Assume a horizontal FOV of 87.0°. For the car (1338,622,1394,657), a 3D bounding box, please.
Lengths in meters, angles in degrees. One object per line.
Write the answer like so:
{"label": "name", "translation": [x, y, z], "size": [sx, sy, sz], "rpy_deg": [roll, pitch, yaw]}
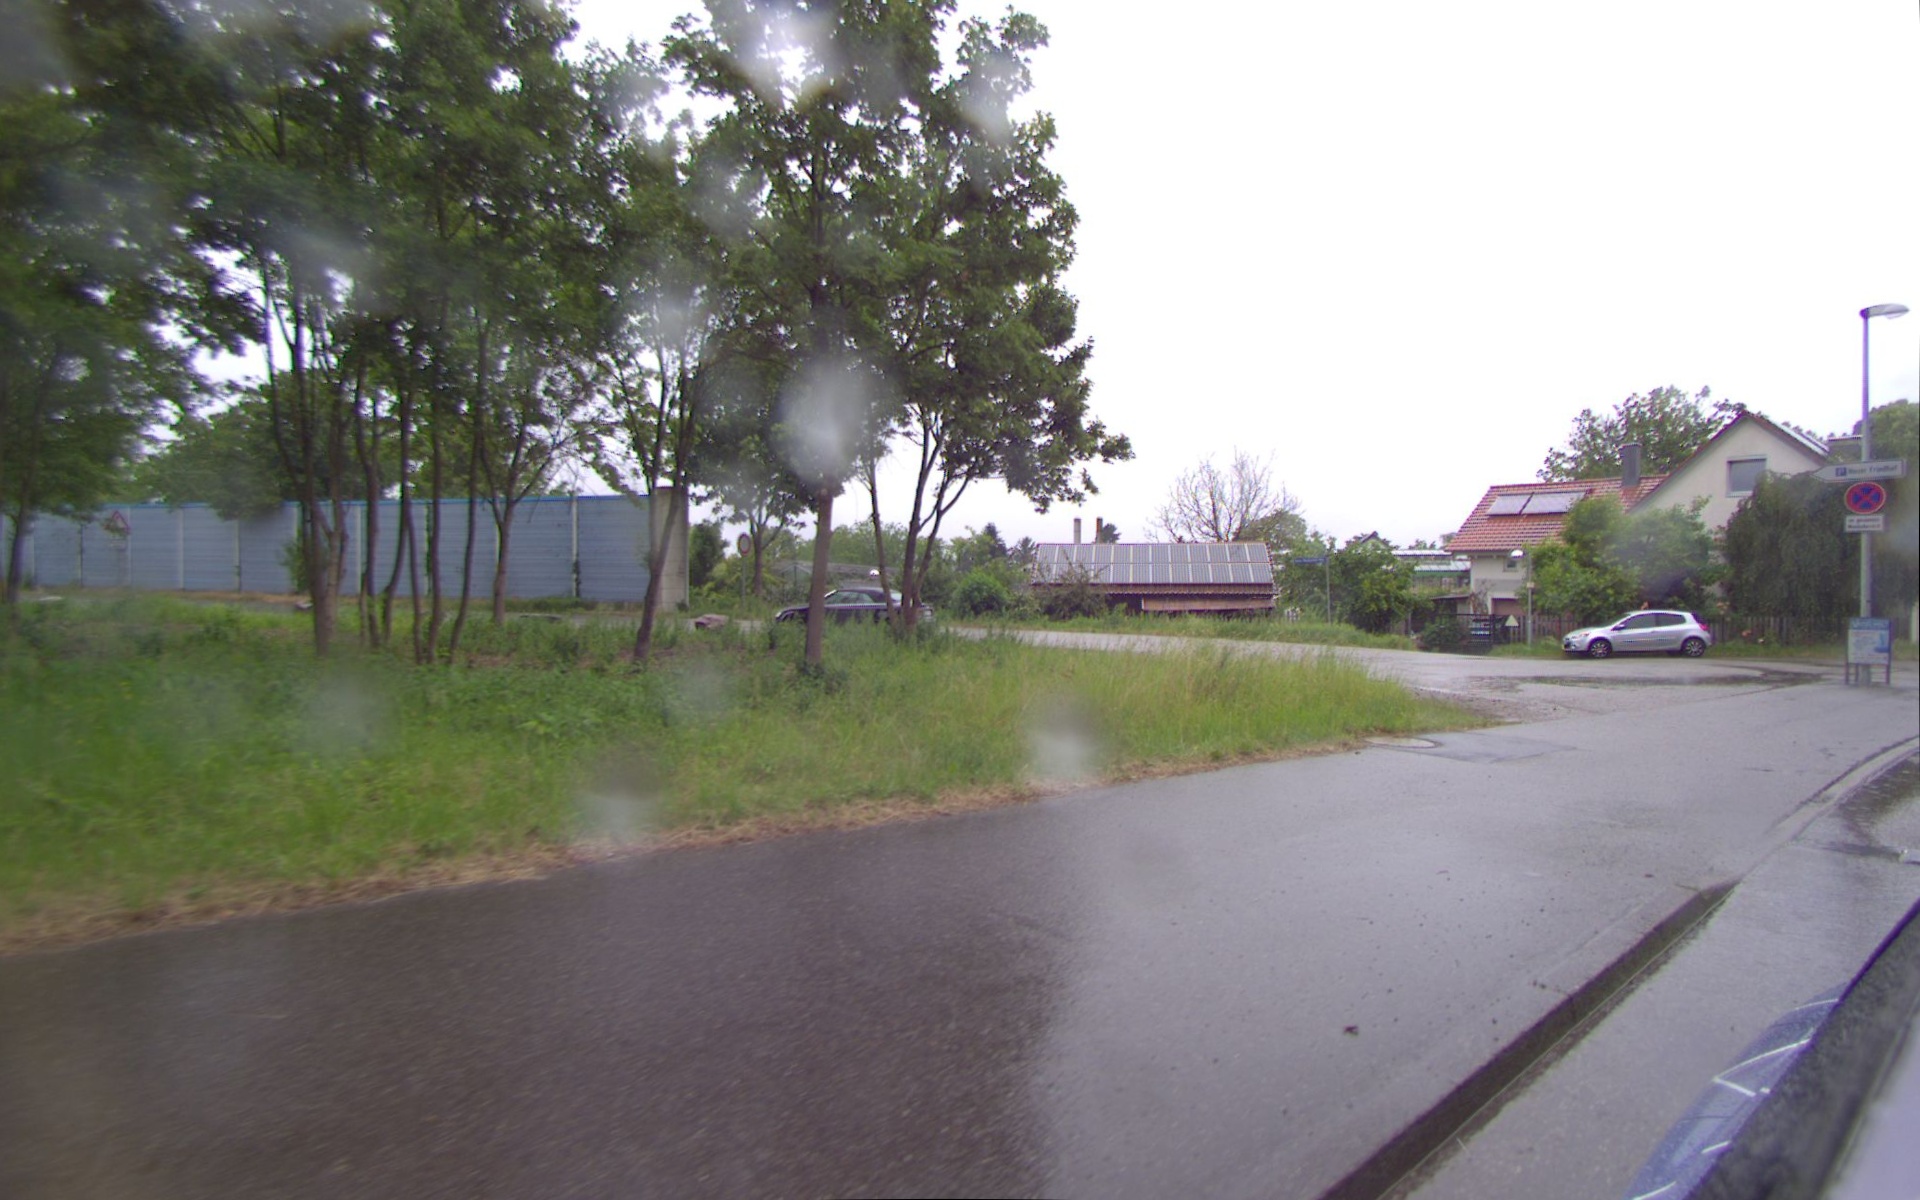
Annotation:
{"label": "car", "translation": [20.980, 2.009, 52.430], "size": [1.903, 1.705, 3.987], "rpy_deg": [-1, -1, 11]}

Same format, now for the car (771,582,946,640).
{"label": "car", "translation": [-2.561, 0.285, 25.822], "size": [4.055, 1.376, 1.894], "rpy_deg": [-1, -1, 17]}

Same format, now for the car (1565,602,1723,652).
{"label": "car", "translation": [21.828, 0.861, 32.456], "size": [3.807, 1.551, 1.708], "rpy_deg": [-1, -1, 19]}
